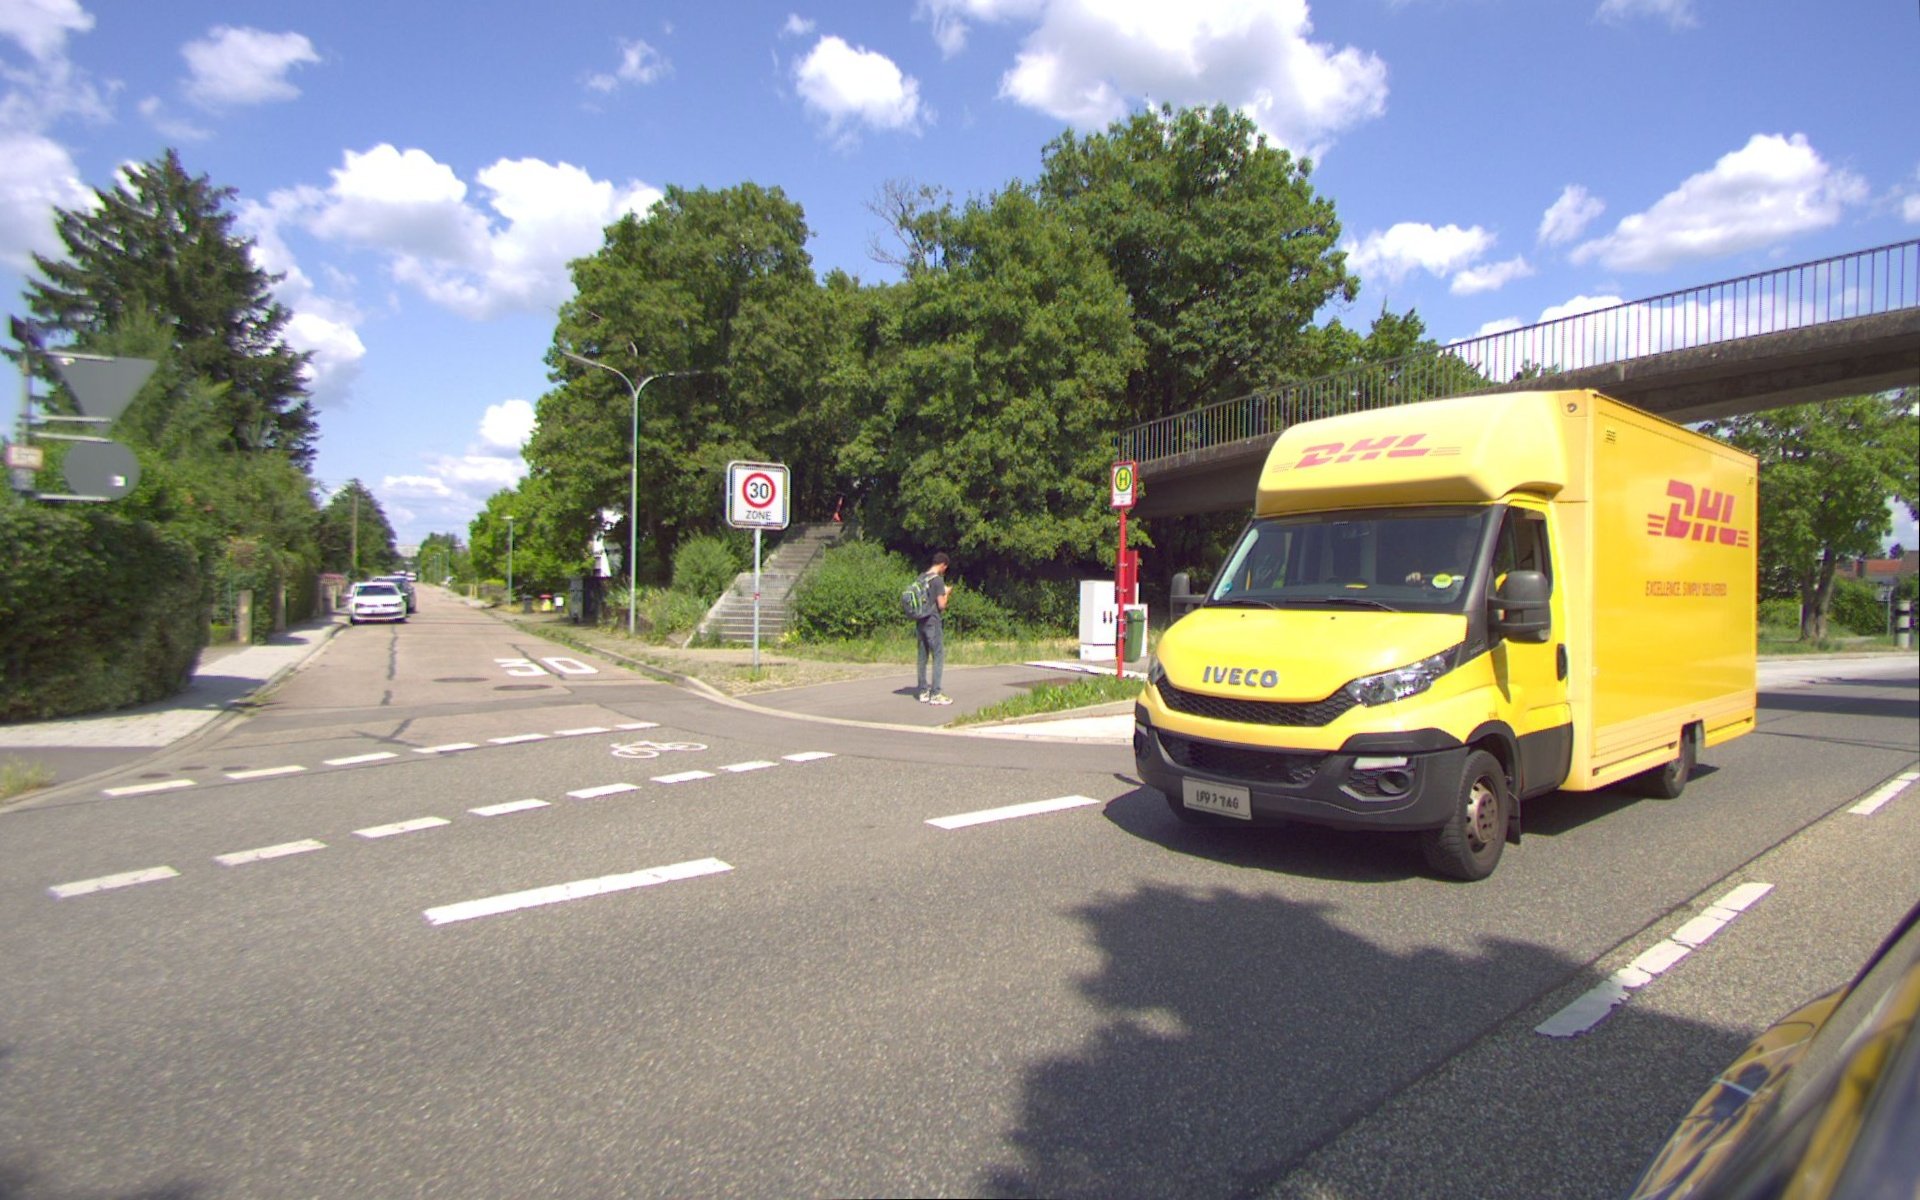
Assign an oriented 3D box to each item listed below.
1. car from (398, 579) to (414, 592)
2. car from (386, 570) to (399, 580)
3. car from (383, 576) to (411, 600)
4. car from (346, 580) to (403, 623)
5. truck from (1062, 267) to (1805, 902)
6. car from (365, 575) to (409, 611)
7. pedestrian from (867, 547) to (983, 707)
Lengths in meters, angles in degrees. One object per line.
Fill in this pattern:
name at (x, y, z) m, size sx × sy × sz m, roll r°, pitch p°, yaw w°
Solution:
car at (-67.407, -1.792, 123.102) m, size 1.648 × 1.573 × 3.669 m, roll 1°, pitch 1°, yaw -29°
car at (-87.542, -3.848, 156.065) m, size 1.648 × 1.573 × 3.669 m, roll 1°, pitch 1°, yaw -29°
car at (-38.807, -0.815, 69.737) m, size 1.648 × 1.573 × 3.669 m, roll 1°, pitch 1°, yaw -29°
car at (-20.613, 0.026, 35.738) m, size 1.648 × 1.438 × 3.669 m, roll 1°, pitch 1°, yaw -29°
truck at (4.381, -0.031, 8.072) m, size 7.884 × 2.917 × 2.269 m, roll 1°, pitch -1°, yaw -40°
car at (-26.044, -0.325, 46.067) m, size 1.648 × 1.573 × 3.669 m, roll 1°, pitch 1°, yaw -29°
pedestrian at (-0.434, 0.281, 12.496) m, size 1.068 × 1.846 × 0.957 m, roll -2°, pitch 4°, yaw -39°
